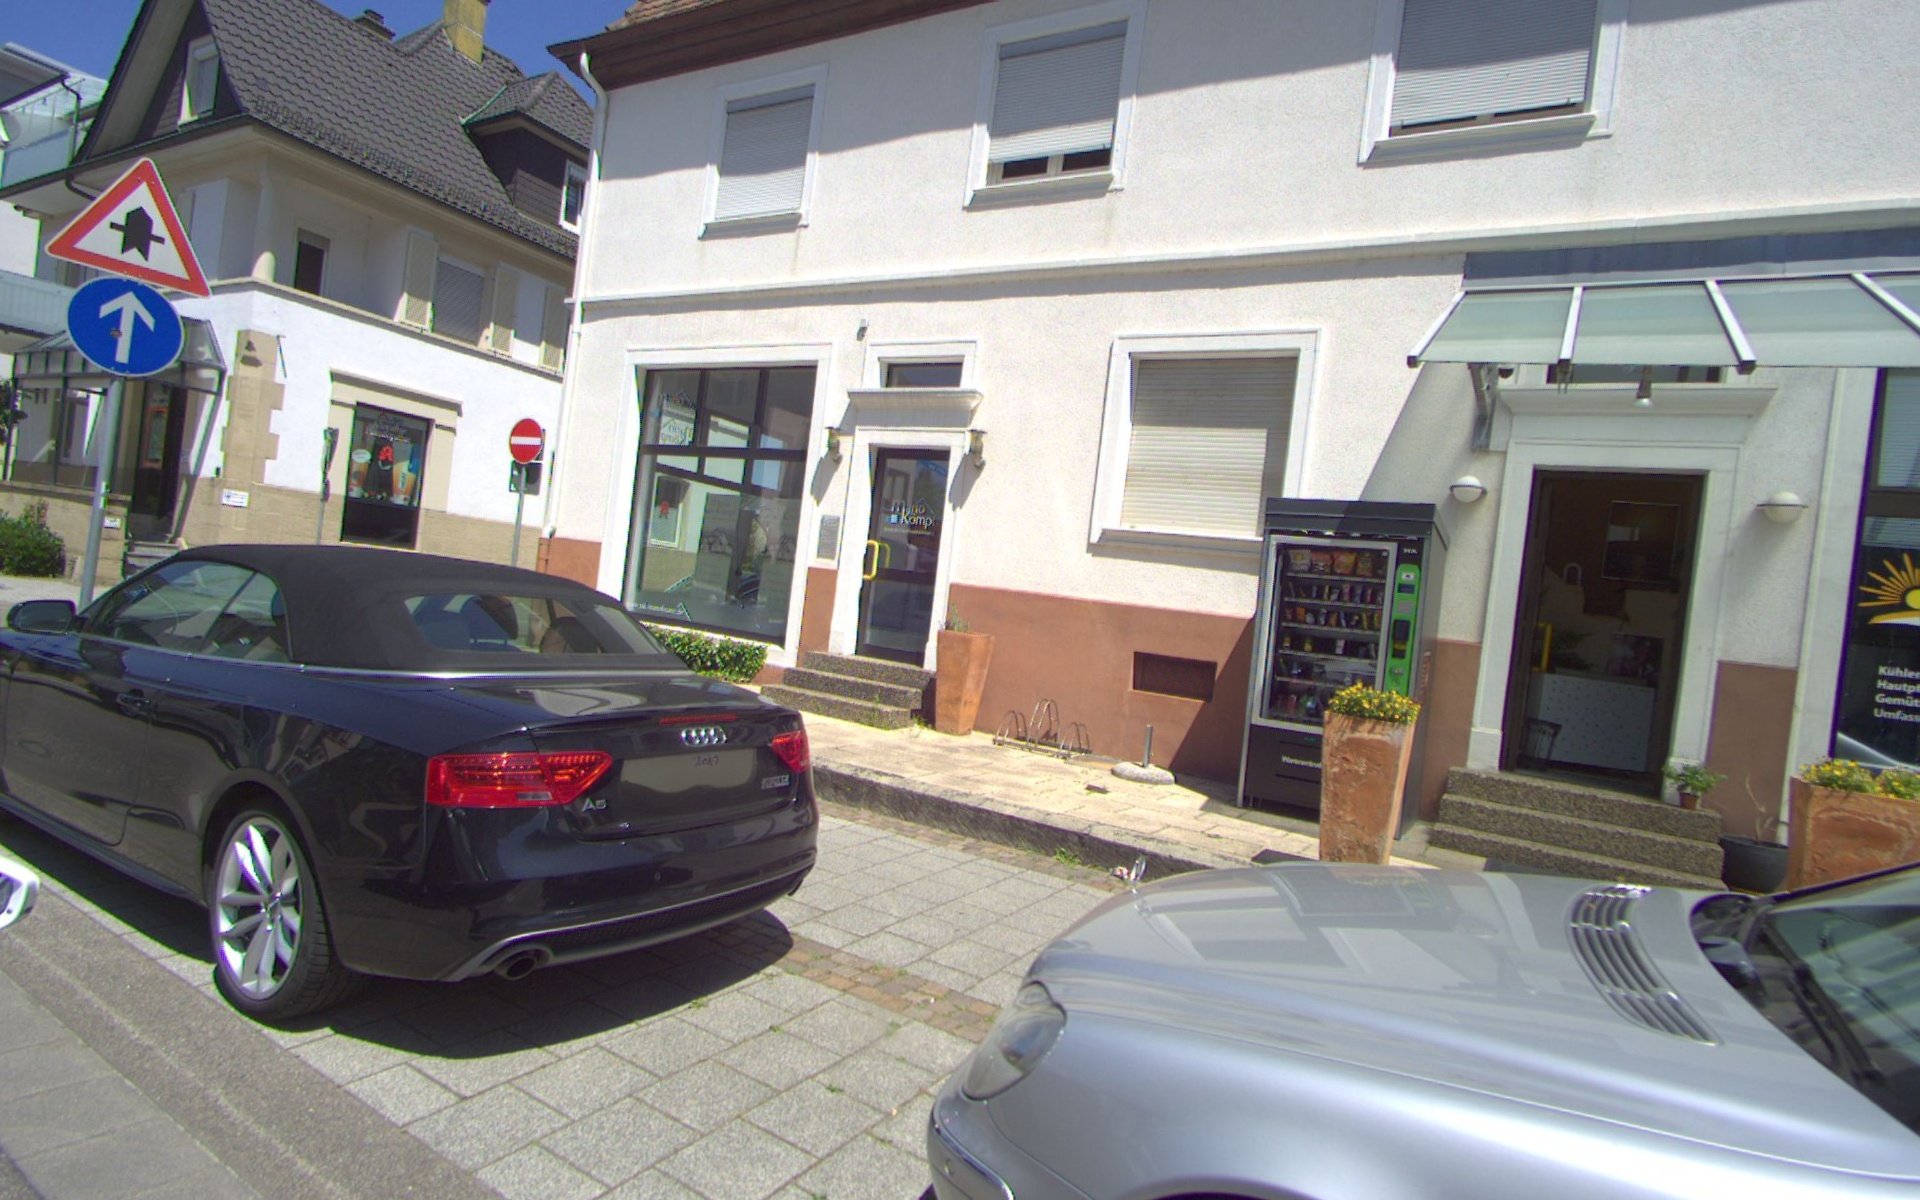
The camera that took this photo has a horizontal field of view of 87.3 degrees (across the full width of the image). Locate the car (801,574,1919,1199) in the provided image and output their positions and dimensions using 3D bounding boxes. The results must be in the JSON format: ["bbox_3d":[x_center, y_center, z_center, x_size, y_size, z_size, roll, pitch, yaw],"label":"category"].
[{"bbox_3d":[2.215,0.953,1.262,4.771,1.488,1.744,6,2,32],"label":"car"}]

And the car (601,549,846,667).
[{"bbox_3d":[-4.649,0.256,20.571,1.896,1.899,4.801,7,0,31],"label":"car"}]

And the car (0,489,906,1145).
[{"bbox_3d":[-2.703,0.408,4.381,4.622,1.445,1.828,6,1,32],"label":"car"}]
